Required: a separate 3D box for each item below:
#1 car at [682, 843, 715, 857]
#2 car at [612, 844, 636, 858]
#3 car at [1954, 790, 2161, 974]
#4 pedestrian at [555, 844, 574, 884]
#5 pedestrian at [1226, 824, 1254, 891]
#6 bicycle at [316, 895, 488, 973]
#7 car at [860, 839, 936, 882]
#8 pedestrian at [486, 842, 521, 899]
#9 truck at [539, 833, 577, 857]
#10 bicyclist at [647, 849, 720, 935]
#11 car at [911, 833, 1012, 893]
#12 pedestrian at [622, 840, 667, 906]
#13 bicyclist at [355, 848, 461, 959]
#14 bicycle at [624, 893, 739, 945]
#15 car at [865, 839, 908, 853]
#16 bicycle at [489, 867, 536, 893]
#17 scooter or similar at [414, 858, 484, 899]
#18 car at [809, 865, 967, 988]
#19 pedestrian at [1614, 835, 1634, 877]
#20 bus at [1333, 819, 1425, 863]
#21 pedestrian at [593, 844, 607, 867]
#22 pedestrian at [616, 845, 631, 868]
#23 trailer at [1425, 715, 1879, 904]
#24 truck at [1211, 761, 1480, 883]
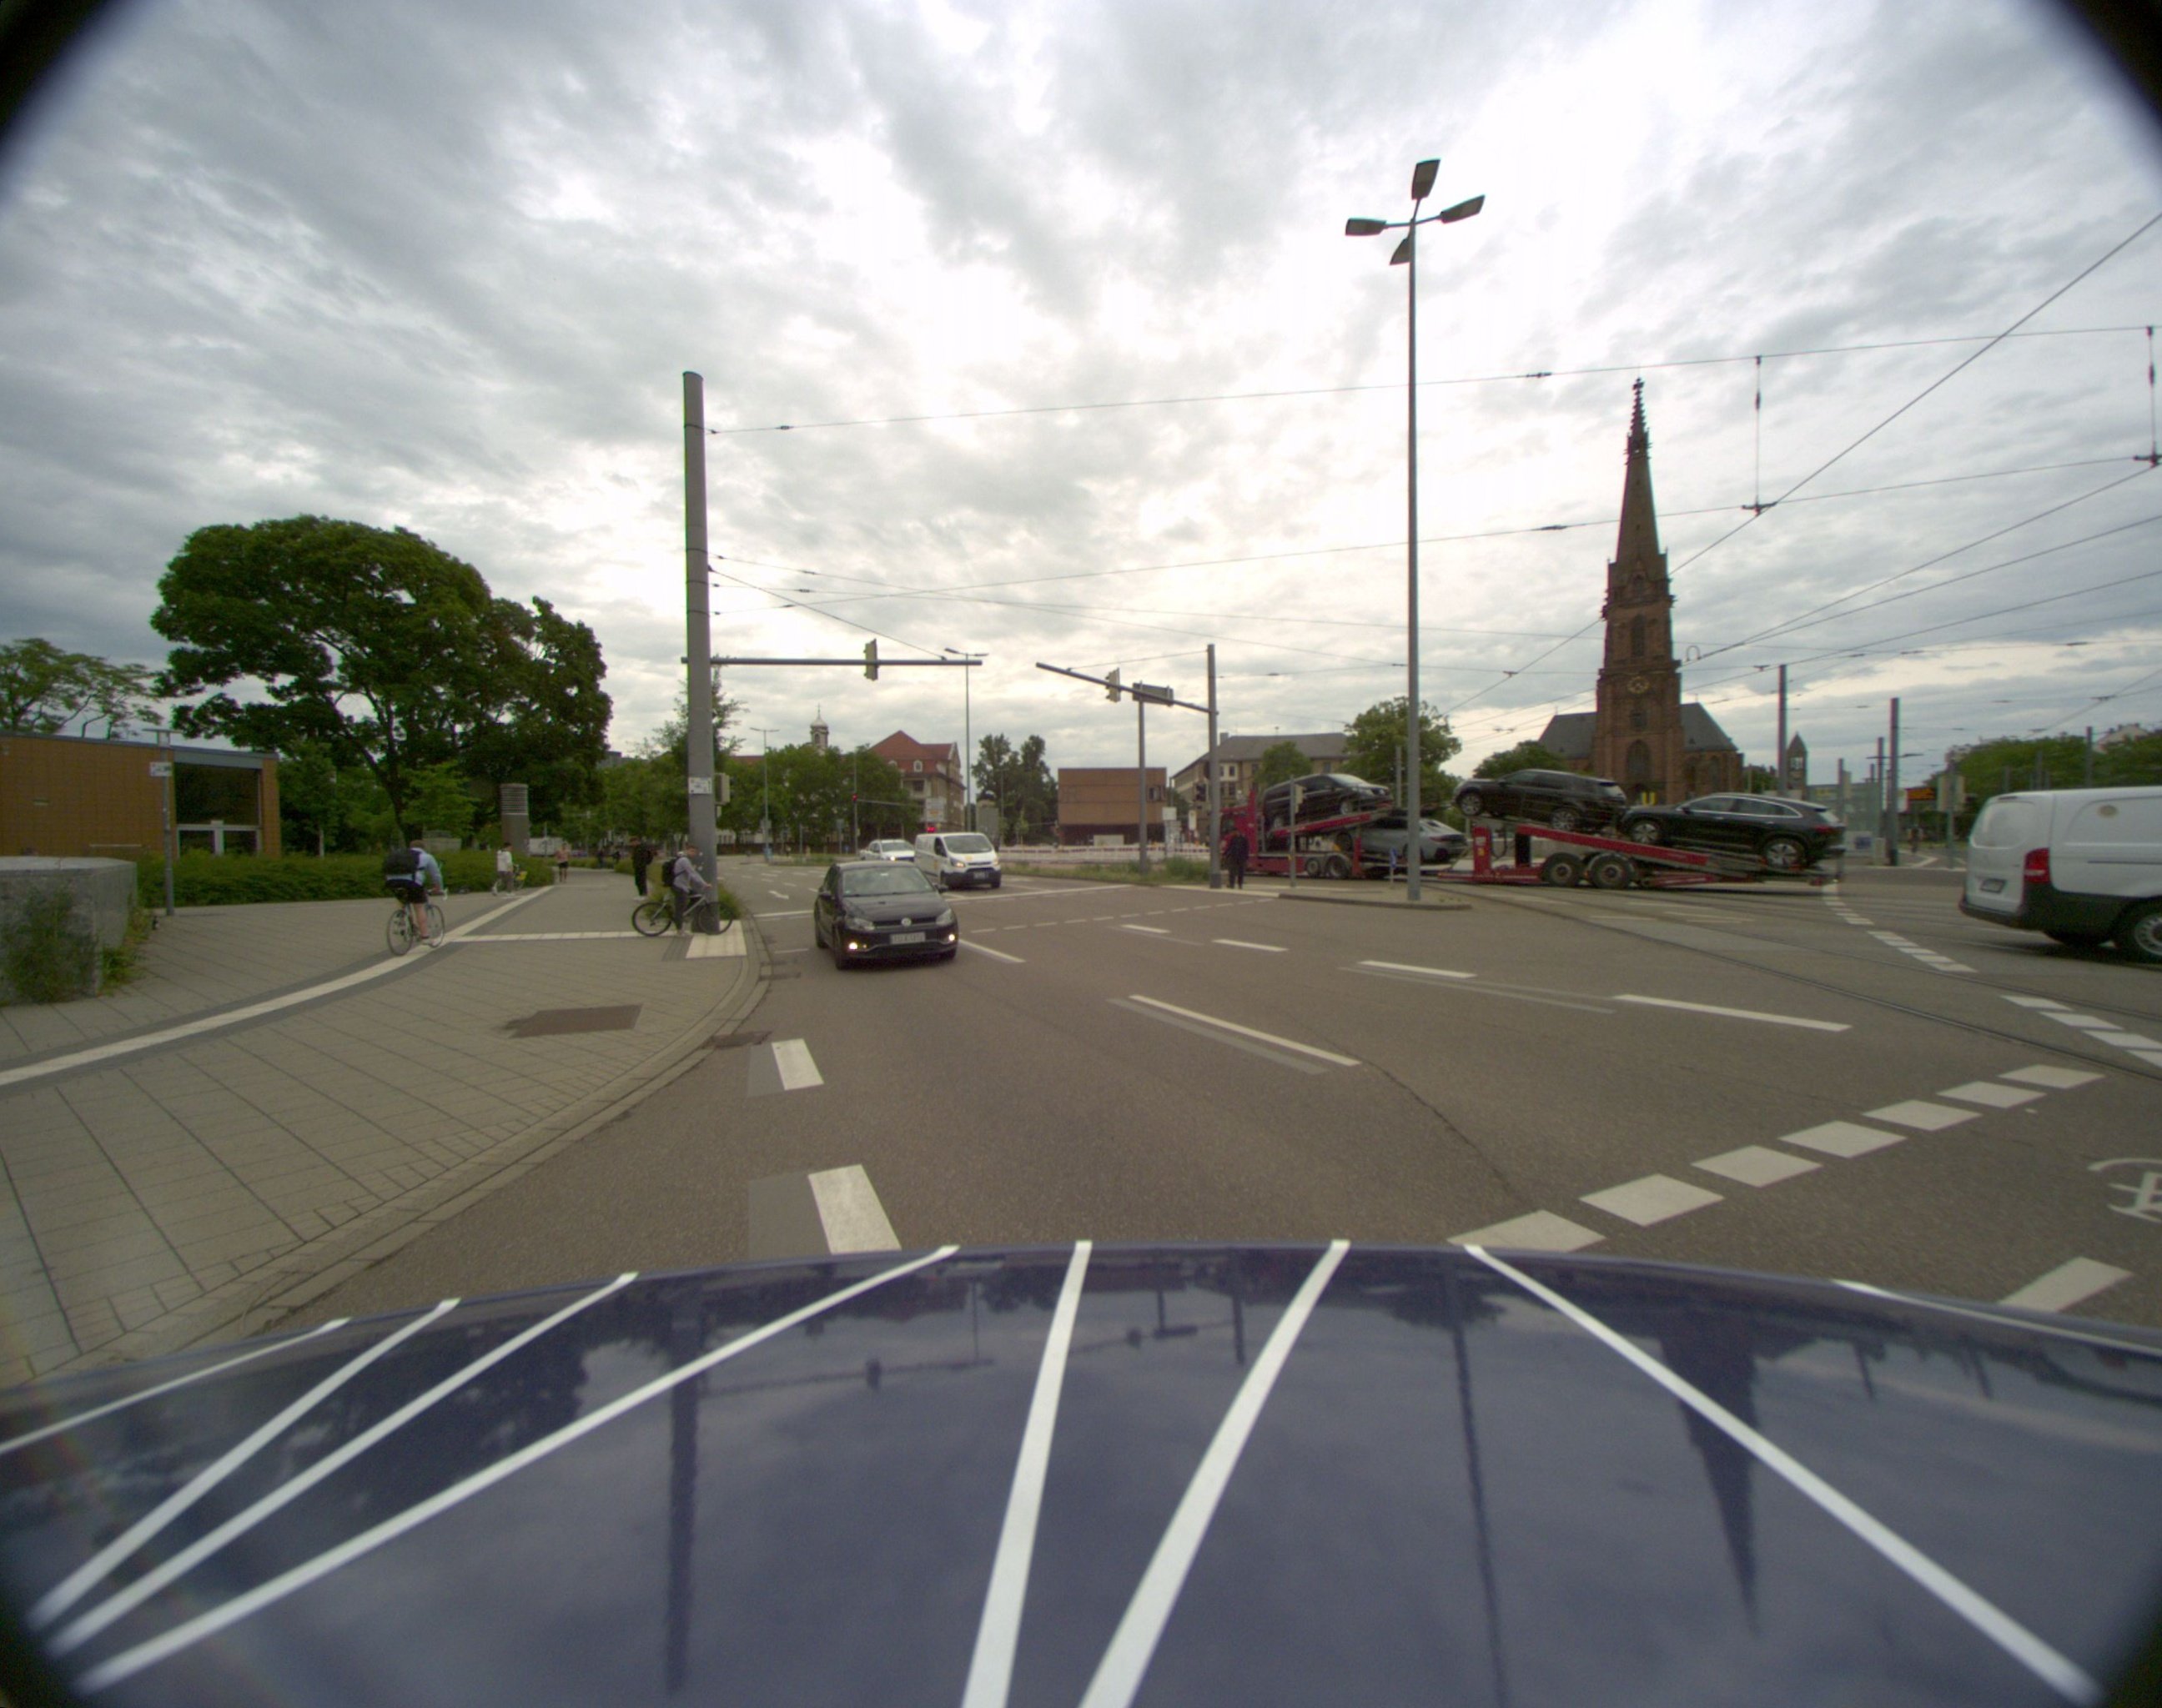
[{"bbox_3d":[-50.348,-0.550,100.017,3.989,1.718,2.003,-1,2,31],"label":"car"},{"bbox_3d":[-66.665,-0.424,110.811,3.975,2.002,2.004,0,3,44],"label":"car"},{"bbox_3d":[12.848,0.228,7.587,5.074,1.872,1.927,0,3,35],"label":"car"},{"bbox_3d":[-23.472,0.455,34.535,0.632,1.790,0.596,2,0,-32],"label":"pedestrian"},{"bbox_3d":[4.699,0.095,22.508,0.780,1.932,0.982,-1,2,10],"label":"pedestrian"},{"bbox_3d":[-9.829,1.119,11.108,0.672,0.928,1.860,2,0,8],"label":"bicycle"},{"bbox_3d":[-8.541,0.256,35.216,2.094,1.838,4.739,-2,1,-30],"label":"car"},{"bbox_3d":[-18.634,0.514,24.508,0.836,1.795,0.705,1,2,43],"label":"pedestrian"},{"bbox_3d":[-89.876,-1.550,130.472,7.140,4.002,2.919,0,3,36],"label":"truck"},{"bbox_3d":[-7.347,0.669,14.052,1.103,1.512,0.758,-2,2,-32],"label":"bicyclist"},{"bbox_3d":[-4.344,0.254,27.030,2.003,1.931,4.512,-2,1,-30],"label":"car"},{"bbox_3d":[-13.066,0.558,22.771,0.722,1.917,0.875,0,2,29],"label":"pedestrian"},{"bbox_3d":[-9.837,0.696,11.143,0.692,1.551,0.927,1,0,7],"label":"bicyclist"},{"bbox_3d":[-7.385,1.182,14.071,1.830,0.835,0.765,1,0,-32],"label":"bicycle"},{"bbox_3d":[-24.509,-1.071,95.868,1.907,1.707,5.253,0,1,37],"label":"car"},{"bbox_3d":[-20.690,0.938,27.690,0.558,0.843,2.071,-1,1,-13],"label":"bicycle"},{"bbox_3d":[-21.369,0.814,25.722,0.693,1.283,1.607,-1,2,31],"label":"scooter or similar"},{"bbox_3d":[-3.110,0.938,11.653,1.658,1.405,3.991,-1,1,-24],"label":"car"},{"bbox_3d":[20.856,0.066,29.168,0.426,1.601,0.479,-2,2,-30],"label":"pedestrian"},{"bbox_3d":[23.545,-1.119,60.880,2.862,3.060,12.017,-2,2,1],"label":"bus"},{"bbox_3d":[-38.585,0.126,60.957,0.596,1.790,0.722,2,0,15],"label":"pedestrian"},{"bbox_3d":[-35.177,0.189,58.386,0.596,1.790,0.722,2,0,15],"label":"pedestrian"},{"bbox_3d":[14.610,-1.041,20.809,3.001,3.951,9.530,-3,2,-28],"label":"trailer"},{"bbox_3d":[9.649,-1.133,29.564,3.019,3.898,10.430,-3,2,-29],"label":"truck"}]
